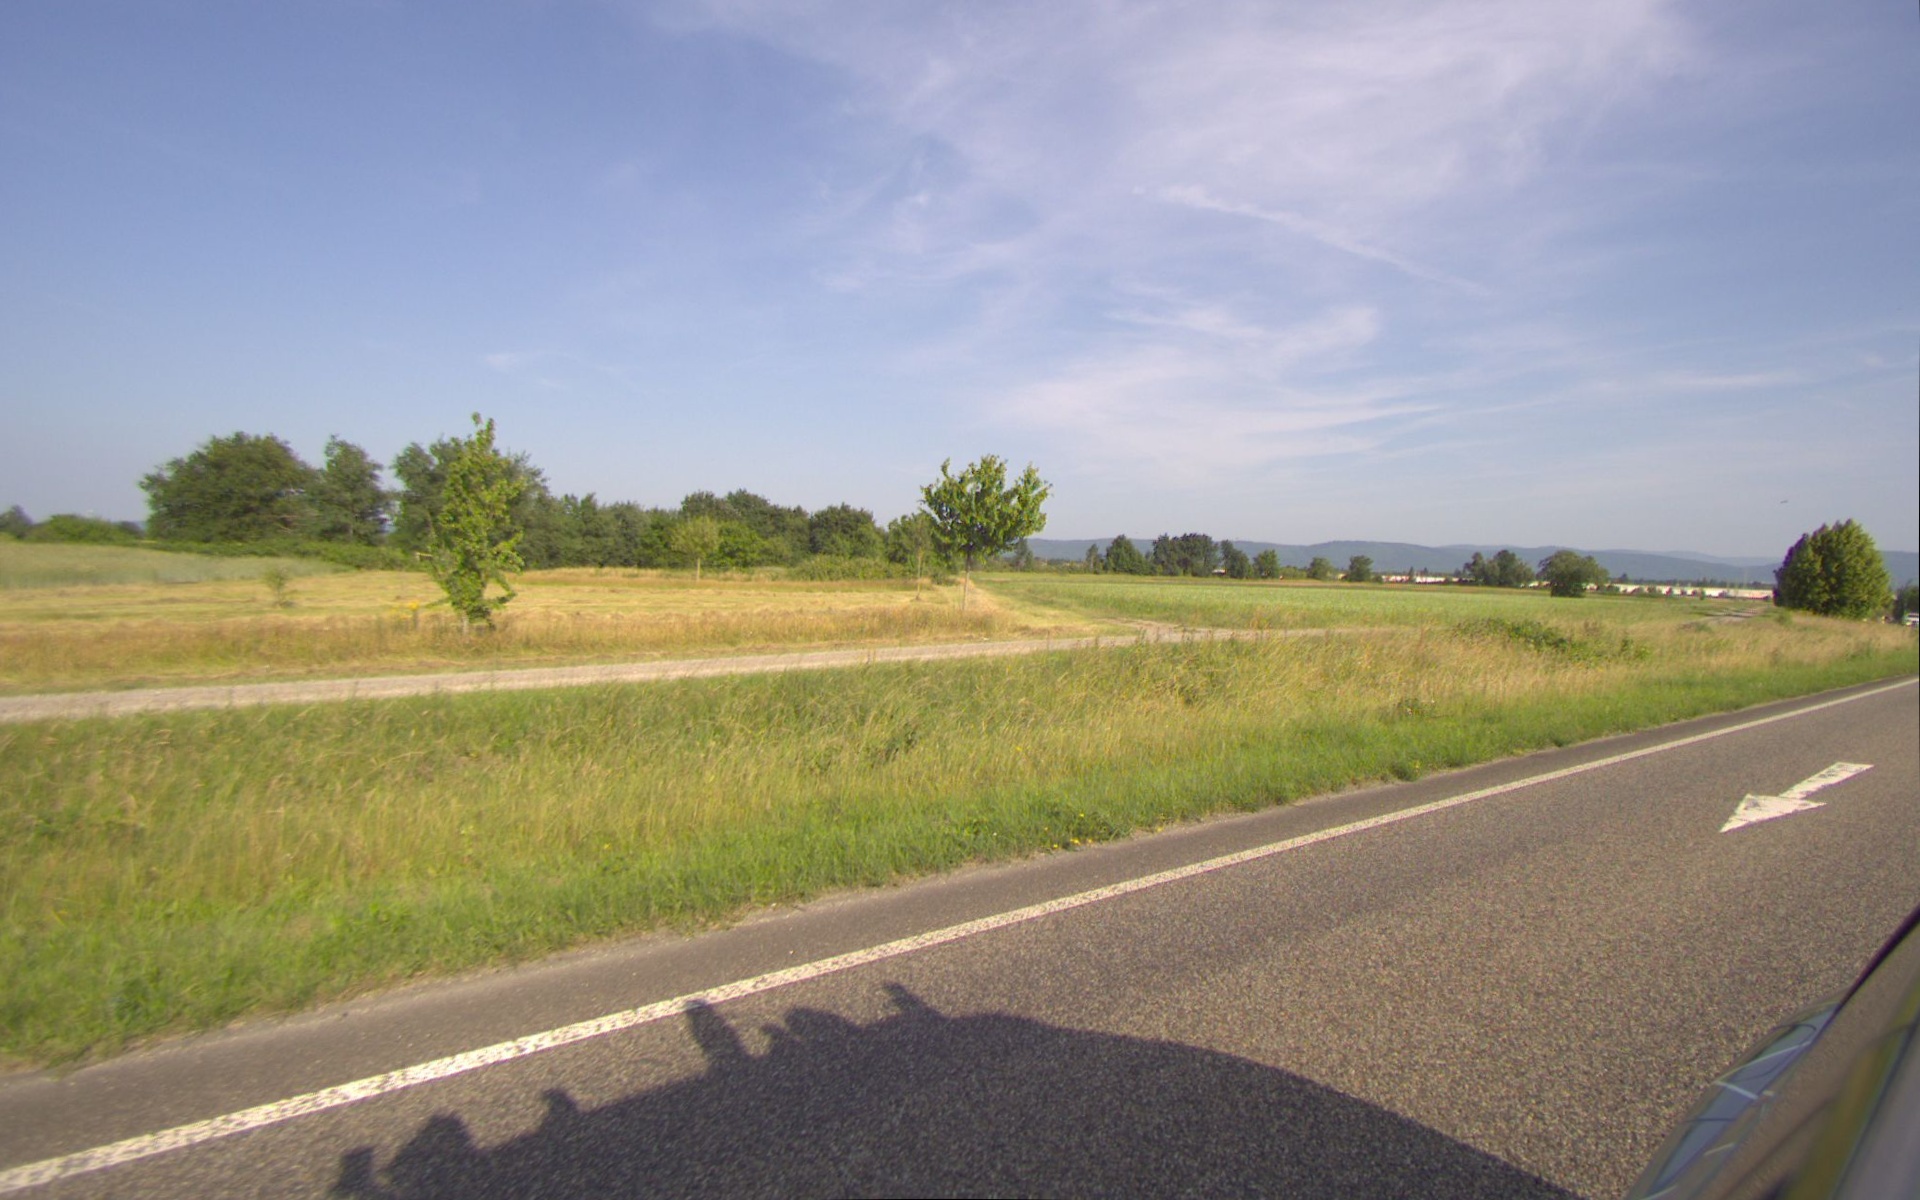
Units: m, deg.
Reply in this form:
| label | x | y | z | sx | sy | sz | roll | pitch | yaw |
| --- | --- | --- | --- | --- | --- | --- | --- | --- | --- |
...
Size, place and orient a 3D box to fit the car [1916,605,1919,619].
| label | x | y | z | sx | sy | sz | roll | pitch | yaw |
| --- | --- | --- | --- | --- | --- | --- | --- | --- | --- |
| car | 101.290 | 1.277 | 105.818 | 1.551 | 1.417 | 3.978 | 2 | 1 | 39 |
